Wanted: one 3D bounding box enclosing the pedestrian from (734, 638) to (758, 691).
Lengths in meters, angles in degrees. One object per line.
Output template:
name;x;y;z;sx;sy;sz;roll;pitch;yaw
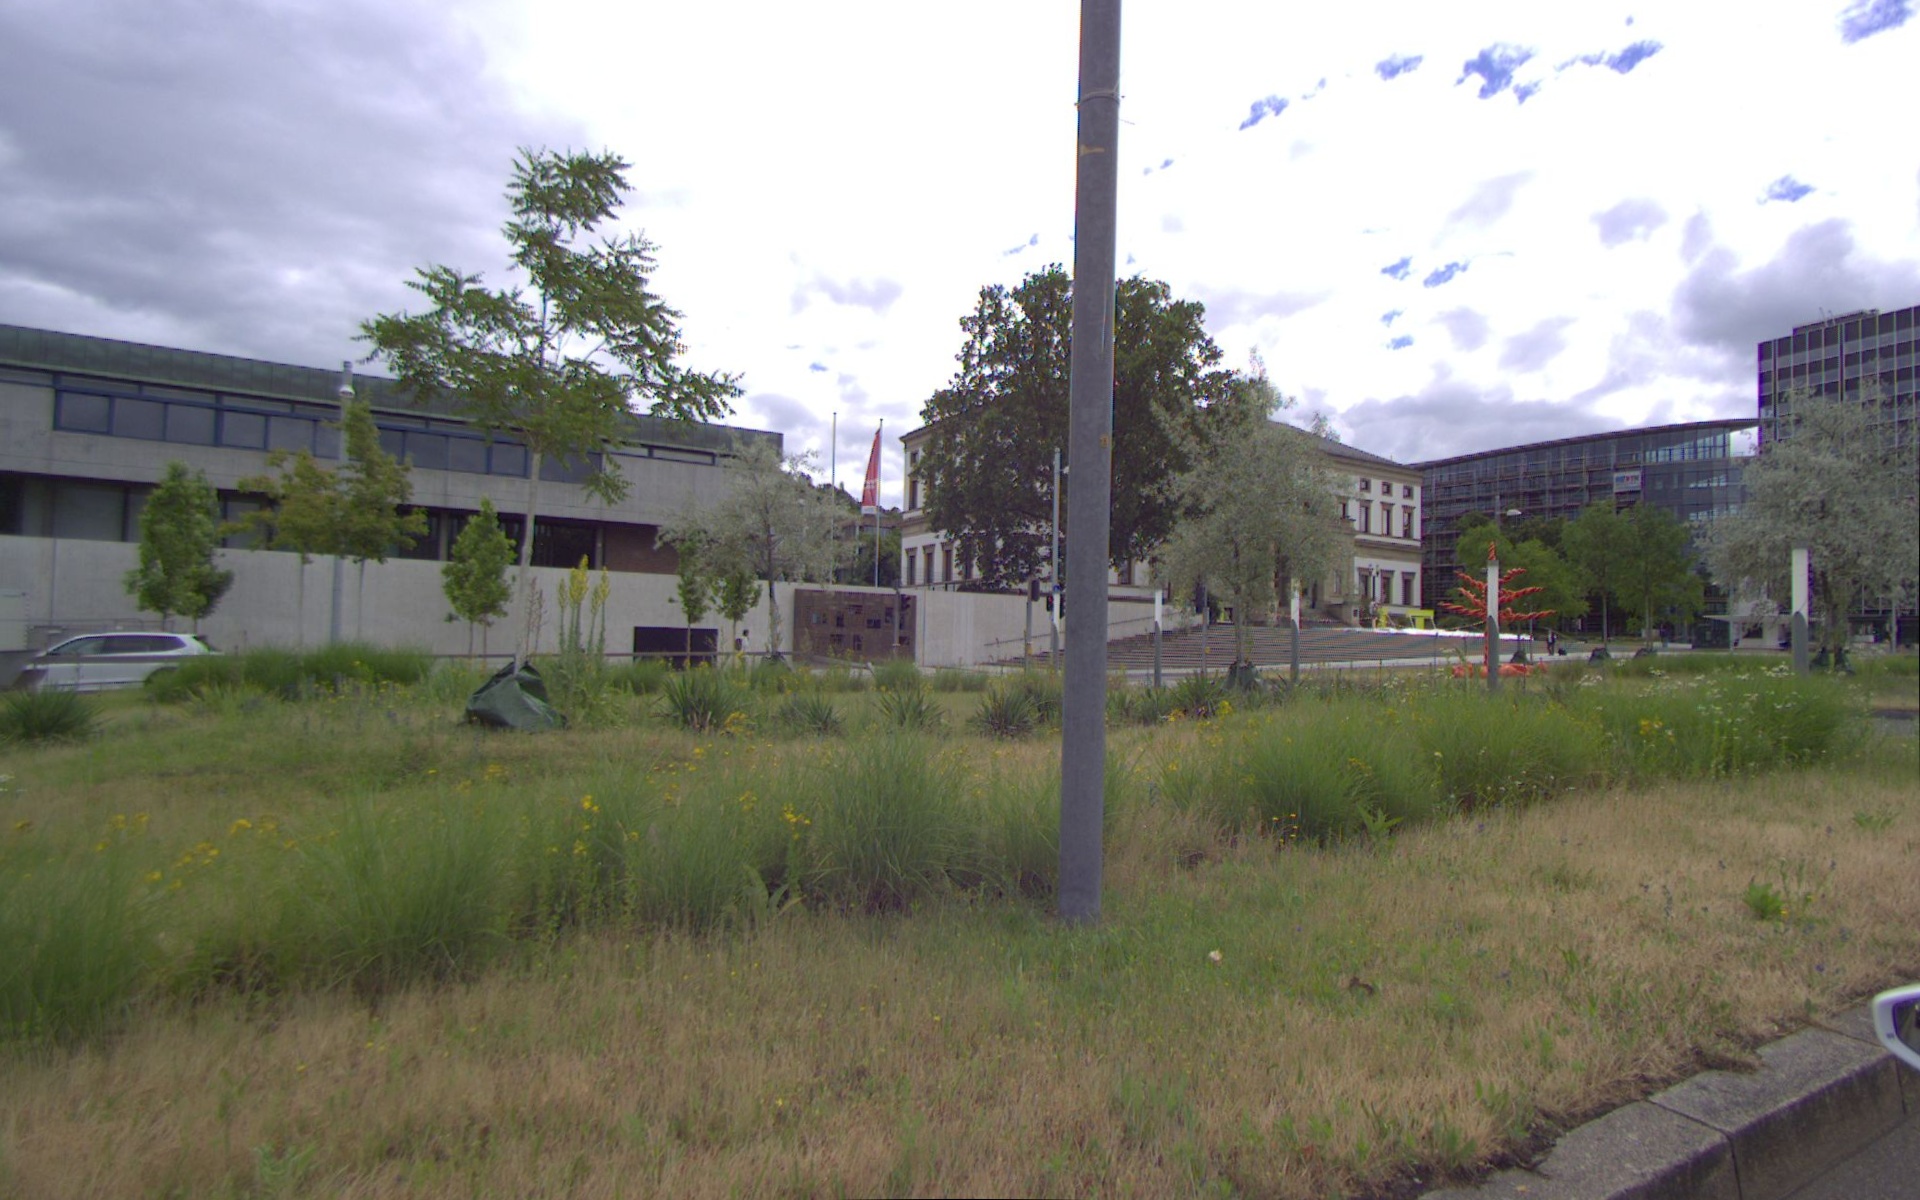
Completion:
pedestrian;-7.148;2.149;33.563;0.656;1.756;0.537;1;-1;-30

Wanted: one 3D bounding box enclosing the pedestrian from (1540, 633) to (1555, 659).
pedestrian;37.252;2.913;63.688;0.643;1.671;0.521;1;-1;-31

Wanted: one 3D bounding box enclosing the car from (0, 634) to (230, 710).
car;-19.824;1.604;23.216;4.556;1.595;1.711;1;-1;-29
